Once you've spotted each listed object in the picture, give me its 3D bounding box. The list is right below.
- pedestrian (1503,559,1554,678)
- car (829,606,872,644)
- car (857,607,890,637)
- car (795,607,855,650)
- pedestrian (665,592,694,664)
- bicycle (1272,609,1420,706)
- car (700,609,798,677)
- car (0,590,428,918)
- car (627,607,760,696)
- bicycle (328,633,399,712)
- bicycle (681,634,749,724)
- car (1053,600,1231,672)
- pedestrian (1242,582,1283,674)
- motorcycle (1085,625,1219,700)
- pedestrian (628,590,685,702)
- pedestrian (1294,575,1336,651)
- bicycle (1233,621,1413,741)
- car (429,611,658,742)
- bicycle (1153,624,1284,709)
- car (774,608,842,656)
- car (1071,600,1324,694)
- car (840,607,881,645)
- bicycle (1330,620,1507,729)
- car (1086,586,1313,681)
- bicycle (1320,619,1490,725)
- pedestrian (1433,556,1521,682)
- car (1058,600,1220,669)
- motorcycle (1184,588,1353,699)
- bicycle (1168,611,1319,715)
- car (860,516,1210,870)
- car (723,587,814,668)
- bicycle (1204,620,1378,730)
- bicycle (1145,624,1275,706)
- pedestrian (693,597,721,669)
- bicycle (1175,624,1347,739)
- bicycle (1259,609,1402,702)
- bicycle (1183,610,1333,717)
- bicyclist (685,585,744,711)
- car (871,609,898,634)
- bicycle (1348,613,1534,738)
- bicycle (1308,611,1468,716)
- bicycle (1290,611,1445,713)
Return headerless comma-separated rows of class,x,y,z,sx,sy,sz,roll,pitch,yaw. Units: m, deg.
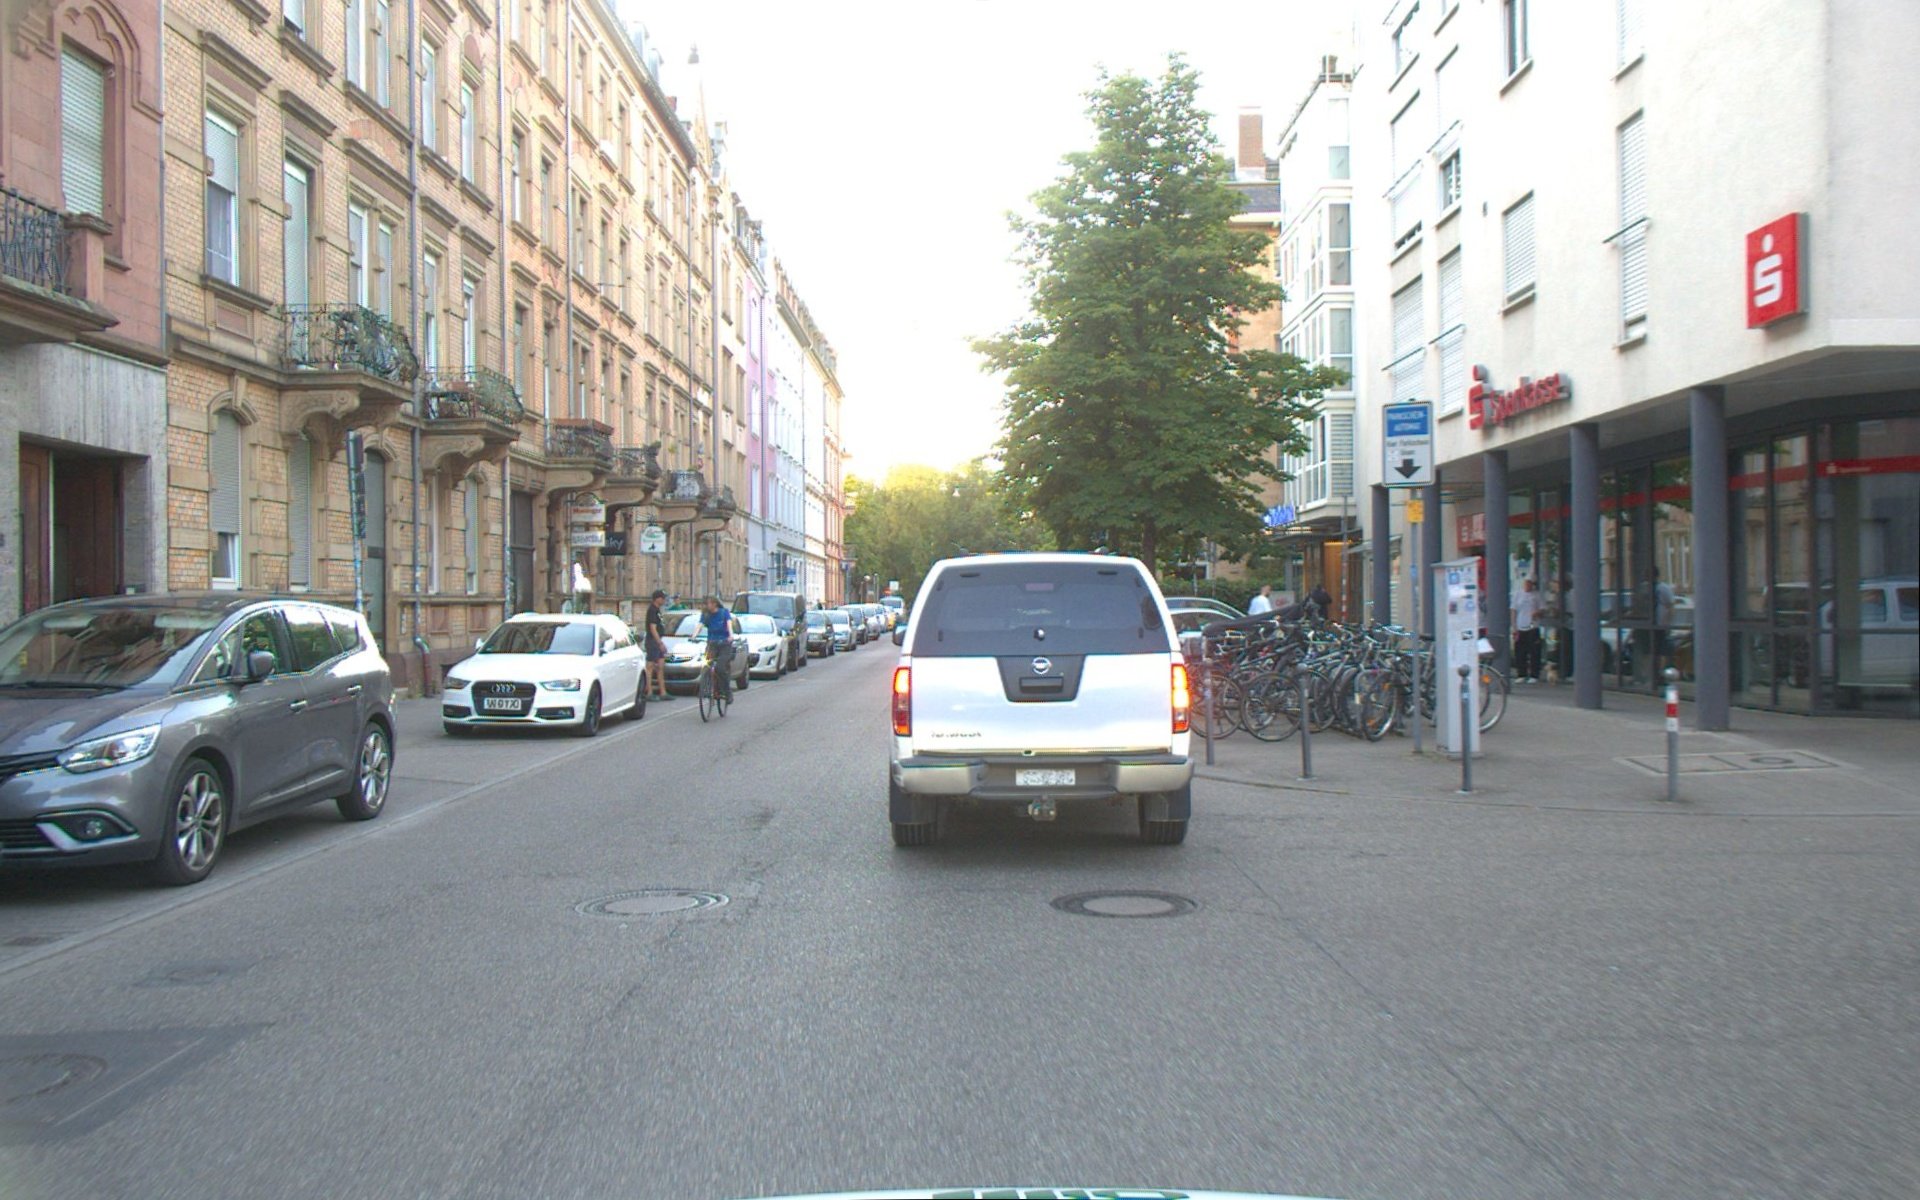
pedestrian,8.522,0.271,24.786,0.649,1.753,0.662,-1,1,22
car,-4.712,1.070,71.541,1.602,1.593,3.781,0,0,-1
car,-4.890,1.248,94.099,1.663,1.649,4.021,1,0,0
car,-5.012,1.047,61.776,1.796,1.483,4.206,2,0,1
pedestrian,-7.216,0.702,42.553,0.568,1.802,0.997,2,0,-4
bicycle,4.943,0.735,21.215,1.688,1.137,0.653,-3,-1,-3
car,-4.826,0.944,38.310,1.747,1.447,4.484,1,0,-1
car,-5.073,0.774,10.644,1.815,1.662,4.446,0,0,0
car,-4.845,0.896,30.598,1.681,1.483,4.001,1,0,2
bicycle,-8.375,1.002,23.273,0.581,1.045,1.621,0,0,-7
bicycle,-3.302,1.041,22.414,0.632,1.100,2.167,-2,0,-2
car,4.234,0.828,38.882,3.907,1.481,1.827,-3,0,-2
pedestrian,5.938,0.550,32.442,0.614,1.784,0.586,0,-2,-11
motorcycle,3.112,1.007,26.847,2.024,1.097,0.661,-3,-1,-15
pedestrian,-4.927,0.739,26.876,0.542,1.786,1.023,0,-2,13
pedestrian,8.384,0.312,39.115,0.712,1.746,0.963,-3,-1,1
bicycle,3.741,0.832,17.137,1.686,1.137,0.707,-3,-1,3
car,-5.146,0.886,21.046,1.722,1.436,4.508,0,0,0
bicycle,3.602,0.922,23.176,1.684,1.049,0.667,-5,-1,3
car,-4.798,1.019,52.733,1.701,1.443,4.778,1,-1,0
car,4.396,0.847,30.947,4.338,1.480,1.777,-3,0,-6
car,-4.650,1.213,77.749,1.808,1.688,4.250,-1,0,-2
bicycle,4.894,0.791,17.733,1.686,1.072,0.654,-3,-1,3
car,4.826,0.668,33.711,4.309,1.676,1.746,-3,0,0
bicycle,4.935,0.794,18.404,1.686,1.072,0.654,-3,-1,3
pedestrian,7.508,0.268,24.006,0.770,1.753,0.899,-4,1,-43
car,4.447,0.848,41.460,3.720,1.478,1.734,-4,0,-5
motorcycle,4.810,0.680,25.938,2.440,1.576,0.824,-3,-1,3
bicycle,3.718,0.820,21.794,1.830,1.202,0.743,-5,-1,5
car,0.604,0.530,11.593,1.870,1.885,5.273,1,-1,4
car,-4.951,0.703,43.380,1.953,1.957,4.949,1,0,-2
bicycle,3.742,0.843,18.787,1.772,1.137,0.707,-3,-1,-2
bicycle,3.584,0.930,23.798,1.736,1.040,0.565,-5,-1,3
pedestrian,-6.549,0.842,42.823,0.593,1.803,0.776,2,0,-4
bicycle,3.256,0.875,18.000,1.687,1.137,0.707,-3,-1,-2
bicycle,4.897,0.731,21.937,1.688,1.137,0.653,-3,-1,-3
bicycle,3.777,0.800,20.951,1.750,1.202,0.734,-5,-1,11
bicyclist,-3.322,0.643,22.433,0.632,1.649,0.918,-2,0,-2
car,-4.814,1.352,105.783,1.664,1.579,4.020,1,0,-2
bicycle,4.850,0.750,16.708,1.692,1.151,0.577,-3,-1,-12
bicycle,5.045,0.747,19.562,1.686,1.137,0.654,-3,-1,3
bicycle,4.945,0.746,20.133,1.686,1.137,0.654,-3,-1,3
